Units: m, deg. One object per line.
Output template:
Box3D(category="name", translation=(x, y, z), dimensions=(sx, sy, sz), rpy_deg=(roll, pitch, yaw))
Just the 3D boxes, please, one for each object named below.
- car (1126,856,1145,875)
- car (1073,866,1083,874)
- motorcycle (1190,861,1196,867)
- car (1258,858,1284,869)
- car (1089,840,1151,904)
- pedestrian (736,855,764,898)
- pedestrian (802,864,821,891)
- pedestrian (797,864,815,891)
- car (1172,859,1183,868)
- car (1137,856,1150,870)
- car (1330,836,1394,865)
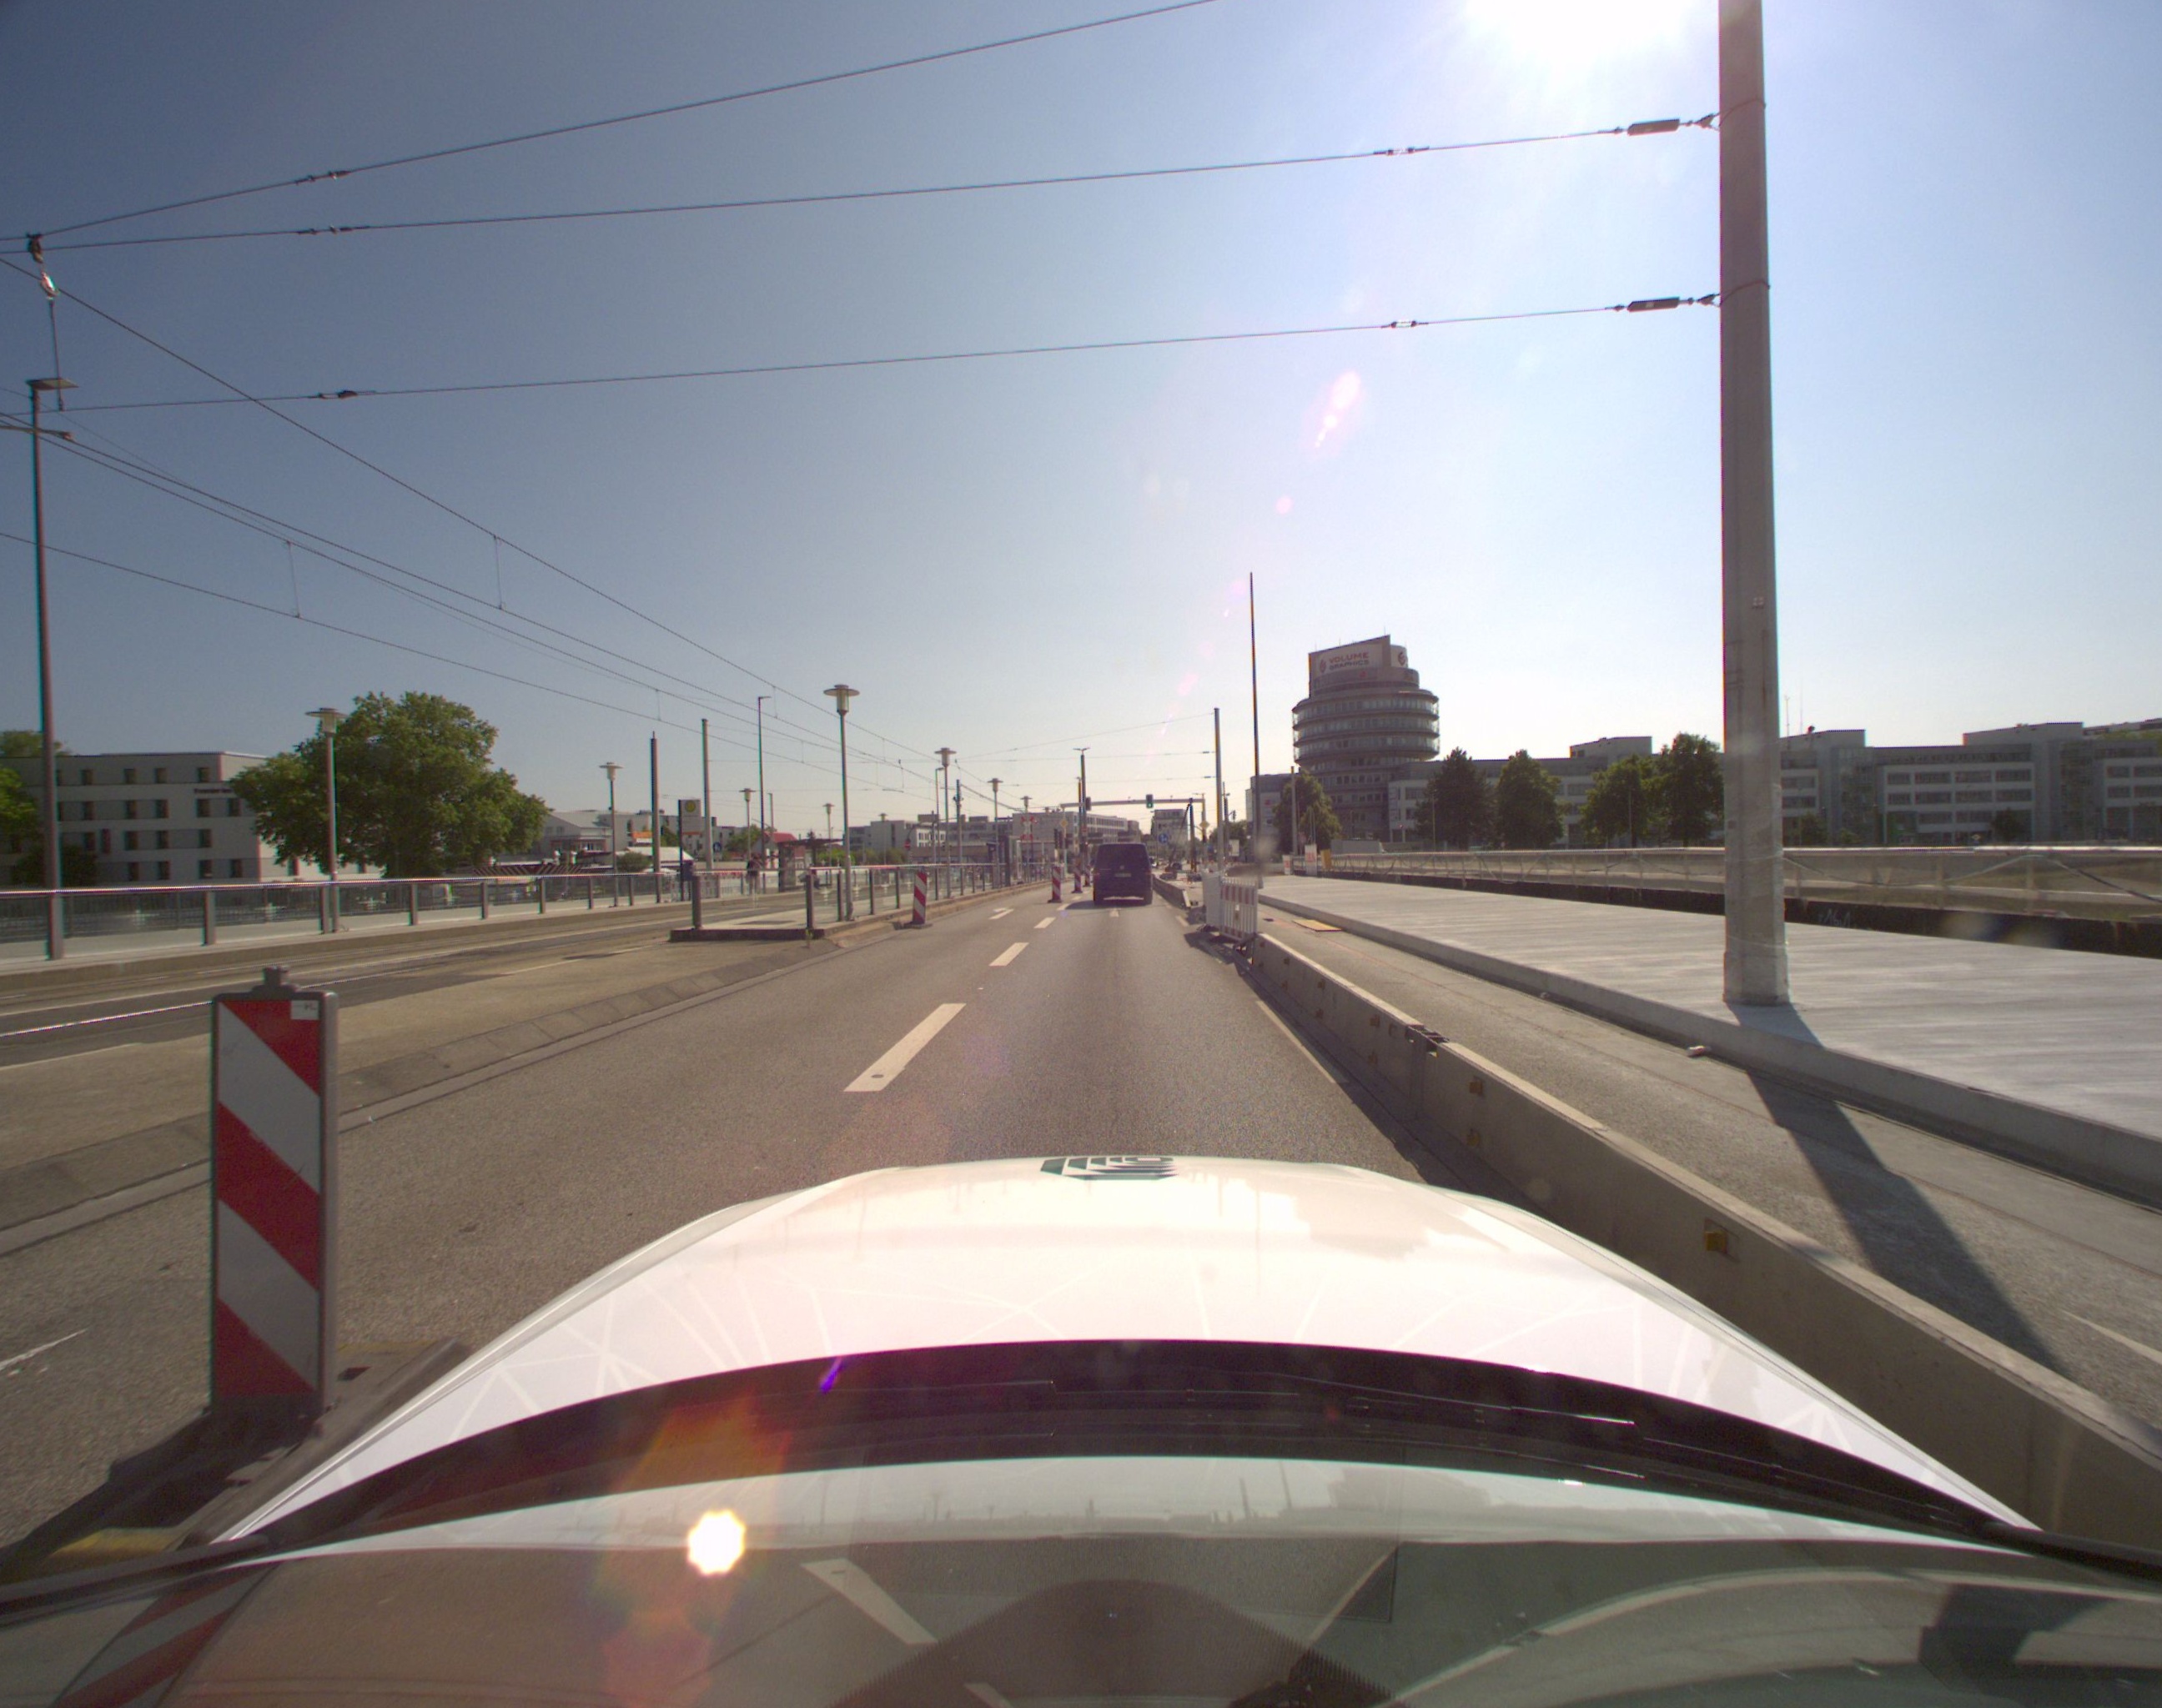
Box3D(category="car", translation=(5.085, 1.062, 75.522), dimensions=(1.637, 1.728, 4.007), rpy_deg=(0, 0, 6))
Box3D(category="car", translation=(-0.586, 2.981, 152.536), dimensions=(1.740, 1.486, 4.002), rpy_deg=(-2, -1, 2))
Box3D(category="motorcycle", translation=(24.904, 2.304, 180.428), dimensions=(1.154, 1.242, 3.017), rpy_deg=(0, 0, 11))
Box3D(category="car", translation=(30.239, 1.520, 129.914), dimensions=(3.796, 1.798, 1.683), rpy_deg=(0, 0, 3))
Box3D(category="car", translation=(1.281, 0.536, 26.840), dimensions=(1.880, 1.934, 4.003), rpy_deg=(0, 0, 3))
Box3D(category="pedestrian", translation=(-12.974, 0.863, 31.942), dimensions=(0.655, 1.654, 0.742), rpy_deg=(-2, 0, 14))
Box3D(category="pedestrian", translation=(-13.112, 1.135, 39.617), dimensions=(0.645, 1.274, 0.698), rpy_deg=(-1, -1, 6))
Box3D(category="pedestrian", translation=(-13.185, 1.141, 39.031), dimensions=(0.645, 1.274, 0.454), rpy_deg=(-1, -1, 6))
Box3D(category="car", translation=(16.572, 1.683, 139.766), dimensions=(1.736, 1.475, 3.890), rpy_deg=(-1, -1, 5))
Box3D(category="car", translation=(7.976, 1.113, 103.547), dimensions=(1.637, 1.728, 3.723), rpy_deg=(0, 0, 6))
Box3D(category="car", translation=(28.947, -0.350, 84.003), dimensions=(5.962, 2.887, 2.334), rpy_deg=(0, 0, -16))
